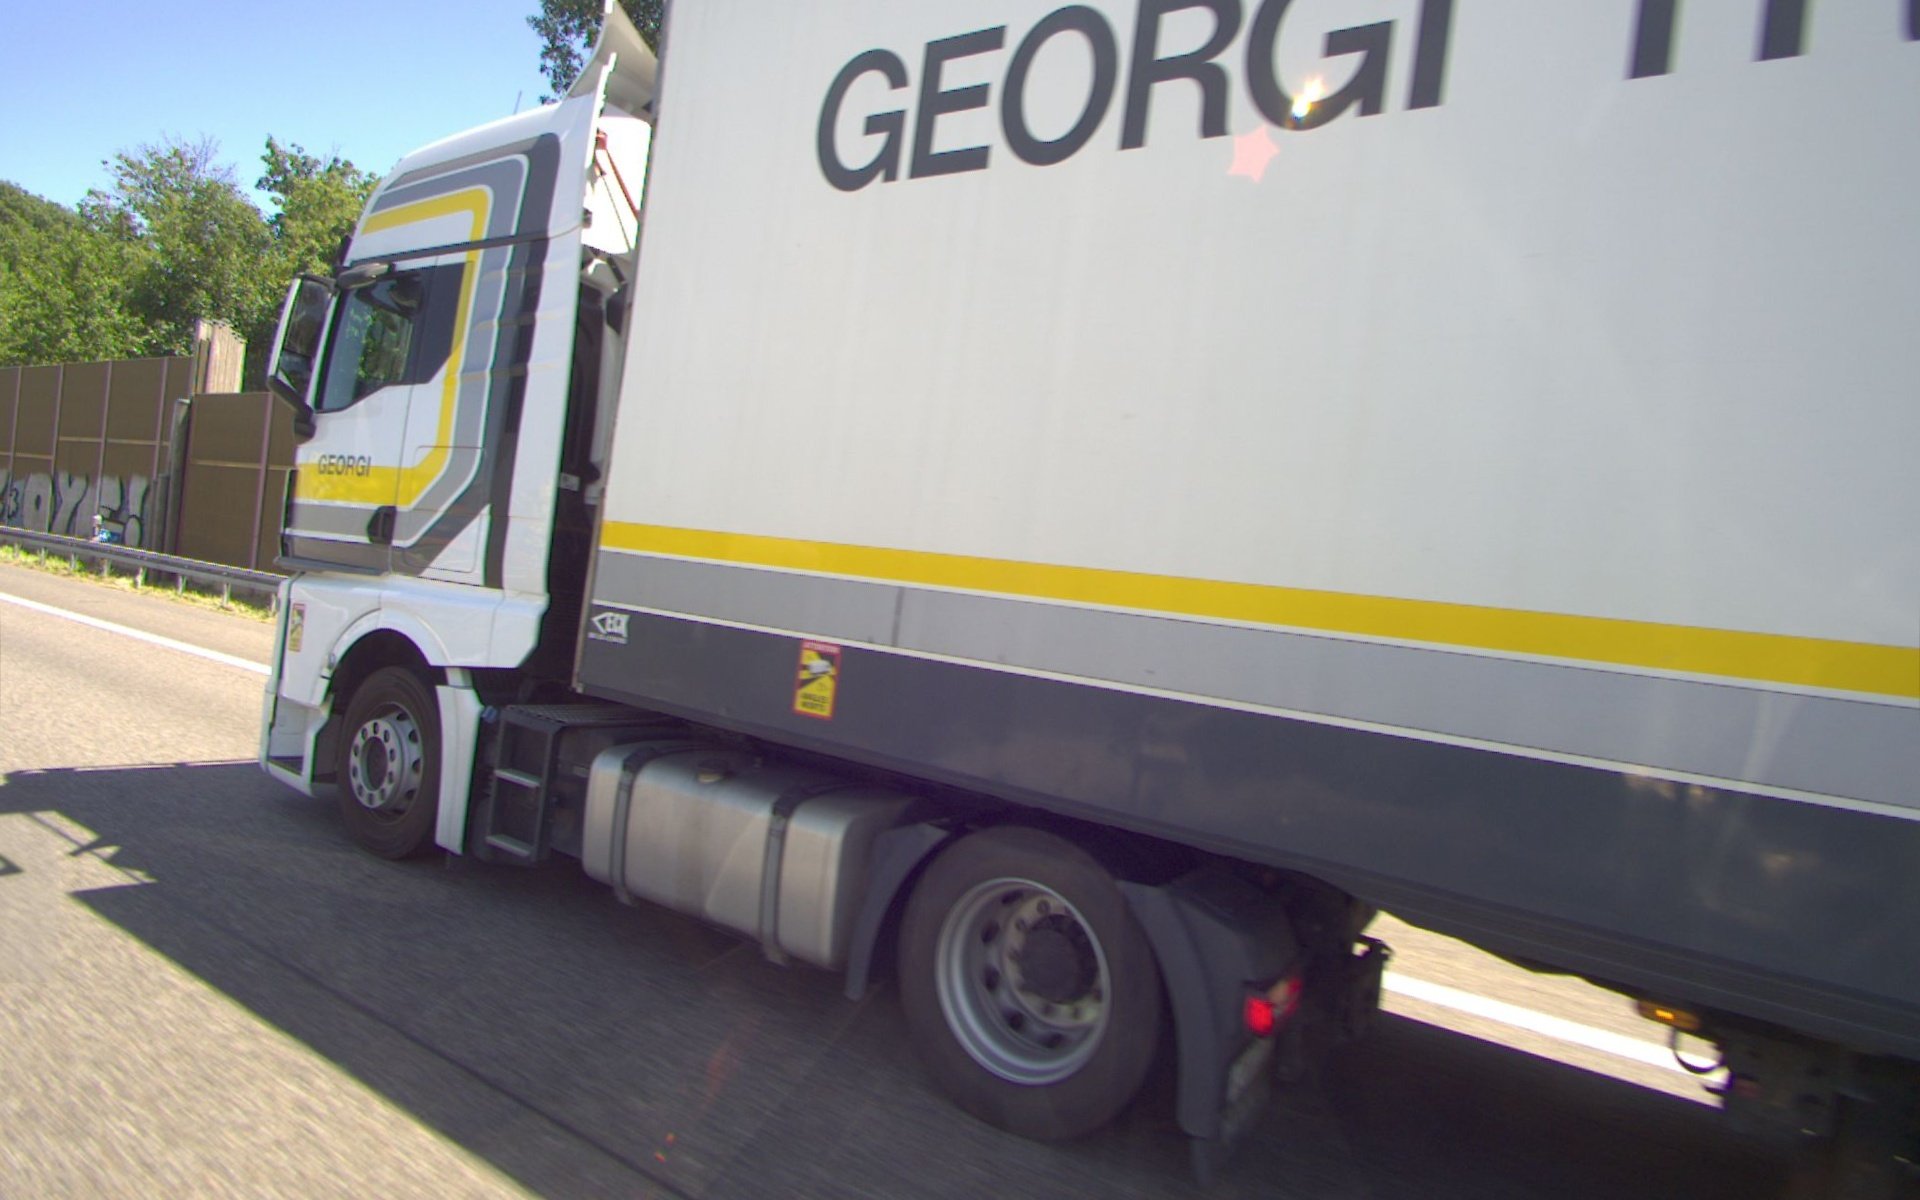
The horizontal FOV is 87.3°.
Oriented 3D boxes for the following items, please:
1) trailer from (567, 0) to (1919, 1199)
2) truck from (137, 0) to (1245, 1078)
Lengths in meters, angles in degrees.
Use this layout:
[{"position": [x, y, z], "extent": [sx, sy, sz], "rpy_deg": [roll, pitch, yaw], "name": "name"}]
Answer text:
[{"position": [5.149, 0.013, 1.578], "extent": [13.195, 4.340, 2.999], "rpy_deg": [6, -1, 32], "name": "trailer"}, {"position": [-1.573, -0.703, 5.757], "extent": [5.165, 4.174, 3.007], "rpy_deg": [6, -1, 31], "name": "truck"}]
